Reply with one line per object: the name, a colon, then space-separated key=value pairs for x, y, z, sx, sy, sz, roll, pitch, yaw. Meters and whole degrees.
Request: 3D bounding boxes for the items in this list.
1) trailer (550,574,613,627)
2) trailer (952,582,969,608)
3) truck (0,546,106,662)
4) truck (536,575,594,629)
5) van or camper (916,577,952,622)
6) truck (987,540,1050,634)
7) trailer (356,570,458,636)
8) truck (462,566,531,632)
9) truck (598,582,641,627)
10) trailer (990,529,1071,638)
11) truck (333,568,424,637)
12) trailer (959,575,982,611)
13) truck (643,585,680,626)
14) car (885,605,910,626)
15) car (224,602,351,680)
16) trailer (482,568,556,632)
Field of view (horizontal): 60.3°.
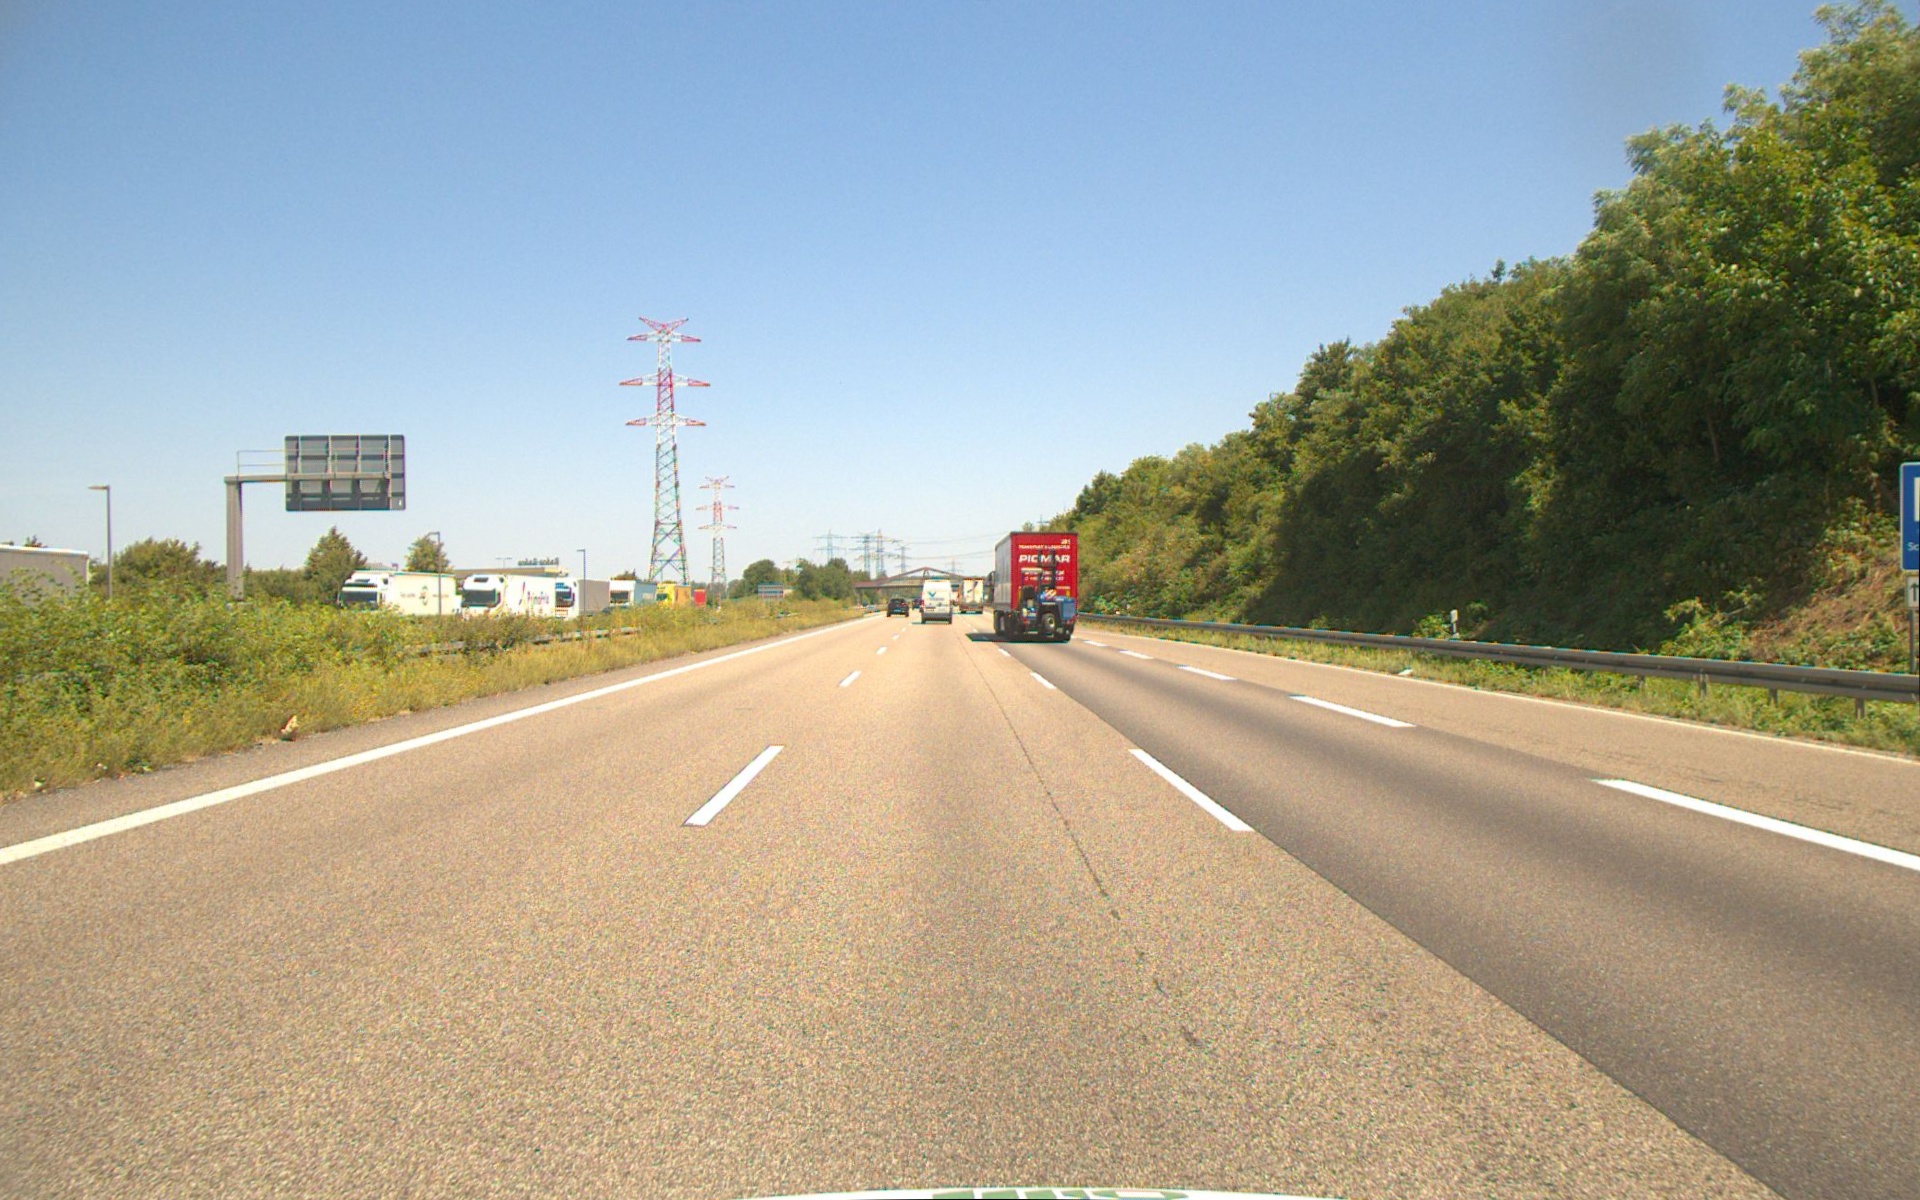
trailer: x=-32.055 y=0.070 z=140.568 sx=3.050 sy=4.231 sz=11.011 roll=1 pitch=0 yaw=-2
trailer: x=0.071 y=-0.732 z=262.682 sx=2.583 sy=3.965 sz=7.068 roll=1 pitch=0 yaw=0
truck: x=-31.852 y=0.099 z=52.336 sx=2.742 sy=3.707 sz=13.603 roll=1 pitch=0 yaw=-1
truck: x=-31.825 y=0.159 z=133.526 sx=3.054 sy=4.231 sz=7.501 roll=1 pitch=0 yaw=-2
van or camper: x=-1.675 y=-0.013 z=107.797 sx=2.185 sy=2.831 sz=5.422 roll=1 pitch=0 yaw=-1
truck: x=2.575 y=-0.541 z=74.370 sx=2.448 sy=3.988 sz=7.095 roll=0 pitch=0 yaw=-1
trailer: x=-37.638 y=0.220 z=113.063 sx=3.031 sy=4.229 sz=12.007 roll=1 pitch=0 yaw=-1
truck: x=-31.144 y=-0.032 z=111.370 sx=2.529 sy=4.262 sz=7.934 roll=0 pitch=0 yaw=-1
truck: x=-32.515 y=0.442 z=158.076 sx=2.792 sy=4.144 sz=7.087 roll=1 pitch=0 yaw=-2
trailer: x=2.689 y=-0.568 z=67.252 sx=2.440 sy=3.978 sz=14.242 roll=0 pitch=0 yaw=-1
truck: x=-37.526 y=0.199 z=107.044 sx=3.032 sy=4.225 sz=8.314 roll=1 pitch=0 yaw=-1
trailer: x=1.217 y=-0.773 z=197.485 sx=2.583 sy=4.131 sz=12.365 roll=1 pitch=0 yaw=0
truck: x=-32.407 y=0.596 z=179.835 sx=2.776 sy=4.274 sz=7.916 roll=1 pitch=0 yaw=-1
car: x=-5.618 y=1.379 z=148.983 sx=1.941 sy=1.849 sz=3.813 roll=1 pitch=0 yaw=1
car: x=-16.721 y=0.985 z=41.310 sx=1.618 sy=1.836 sz=3.800 roll=1 pitch=0 yaw=-1
trailer: x=-31.280 y=-0.007 z=117.741 sx=2.546 sy=4.292 sz=10.512 roll=1 pitch=0 yaw=-1
